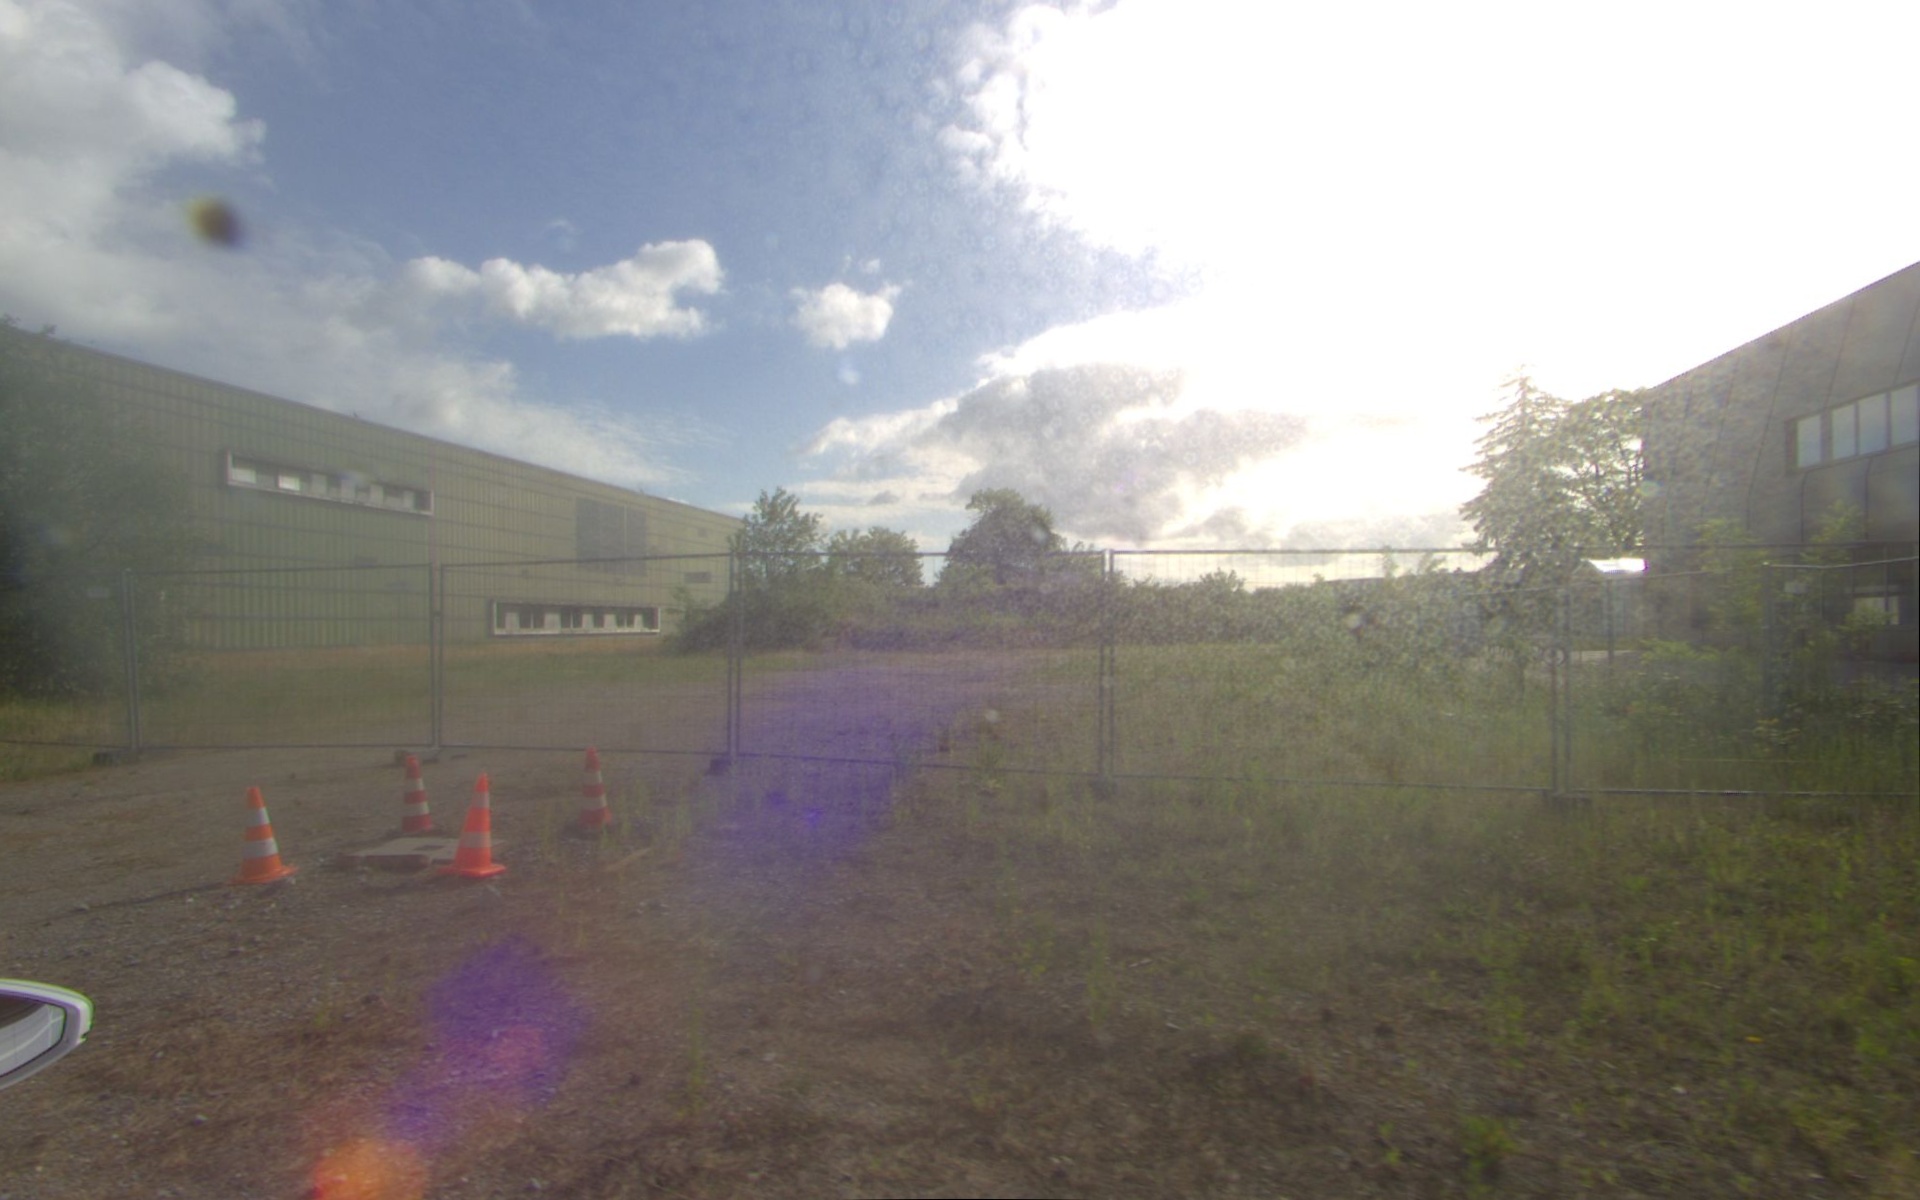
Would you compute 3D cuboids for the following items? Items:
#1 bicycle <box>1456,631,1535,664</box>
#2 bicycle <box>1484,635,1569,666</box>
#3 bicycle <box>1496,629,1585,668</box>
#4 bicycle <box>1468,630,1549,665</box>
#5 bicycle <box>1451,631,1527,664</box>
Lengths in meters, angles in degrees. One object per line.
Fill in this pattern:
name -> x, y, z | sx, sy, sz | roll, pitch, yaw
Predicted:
bicycle -> 17.329, 1.535, 32.457 | 2.030, 1.057, 0.946 | -1, -1, 9
bicycle -> 17.121, 1.526, 30.332 | 2.030, 0.933, 0.946 | -1, -1, 9
bicycle -> 16.843, 1.414, 29.111 | 2.030, 1.101, 0.946 | -1, -1, 9
bicycle -> 17.146, 1.486, 31.352 | 2.030, 1.057, 0.946 | -1, -1, 9
bicycle -> 17.629, 1.576, 33.433 | 2.030, 1.057, 0.946 | -1, -1, 9
